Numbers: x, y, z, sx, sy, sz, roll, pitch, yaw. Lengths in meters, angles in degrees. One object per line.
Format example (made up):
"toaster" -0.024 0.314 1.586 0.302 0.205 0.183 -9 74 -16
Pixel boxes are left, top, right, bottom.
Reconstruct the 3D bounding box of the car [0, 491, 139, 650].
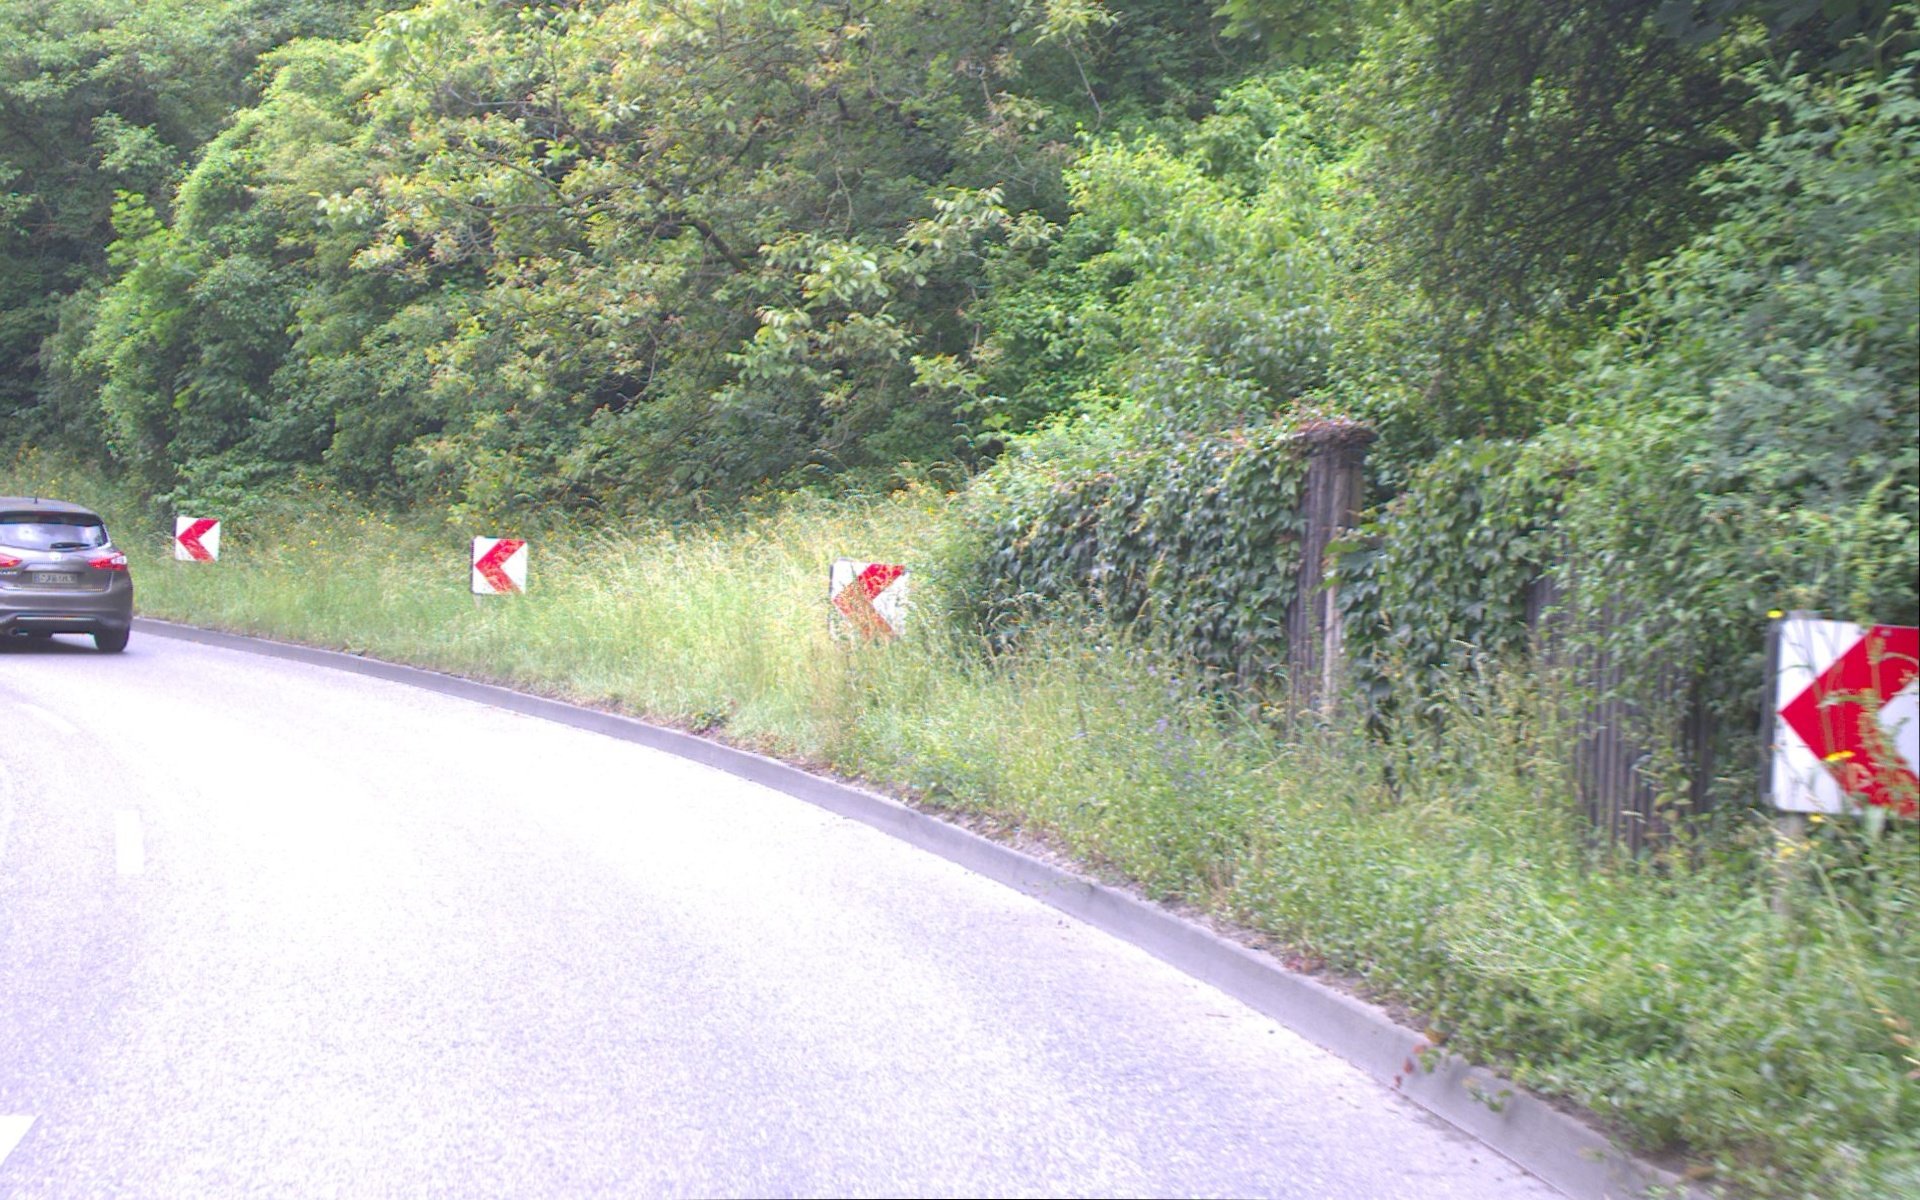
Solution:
"car" -9.797 -0.351 35.091 1.839 1.478 4.001 1 2 -27
